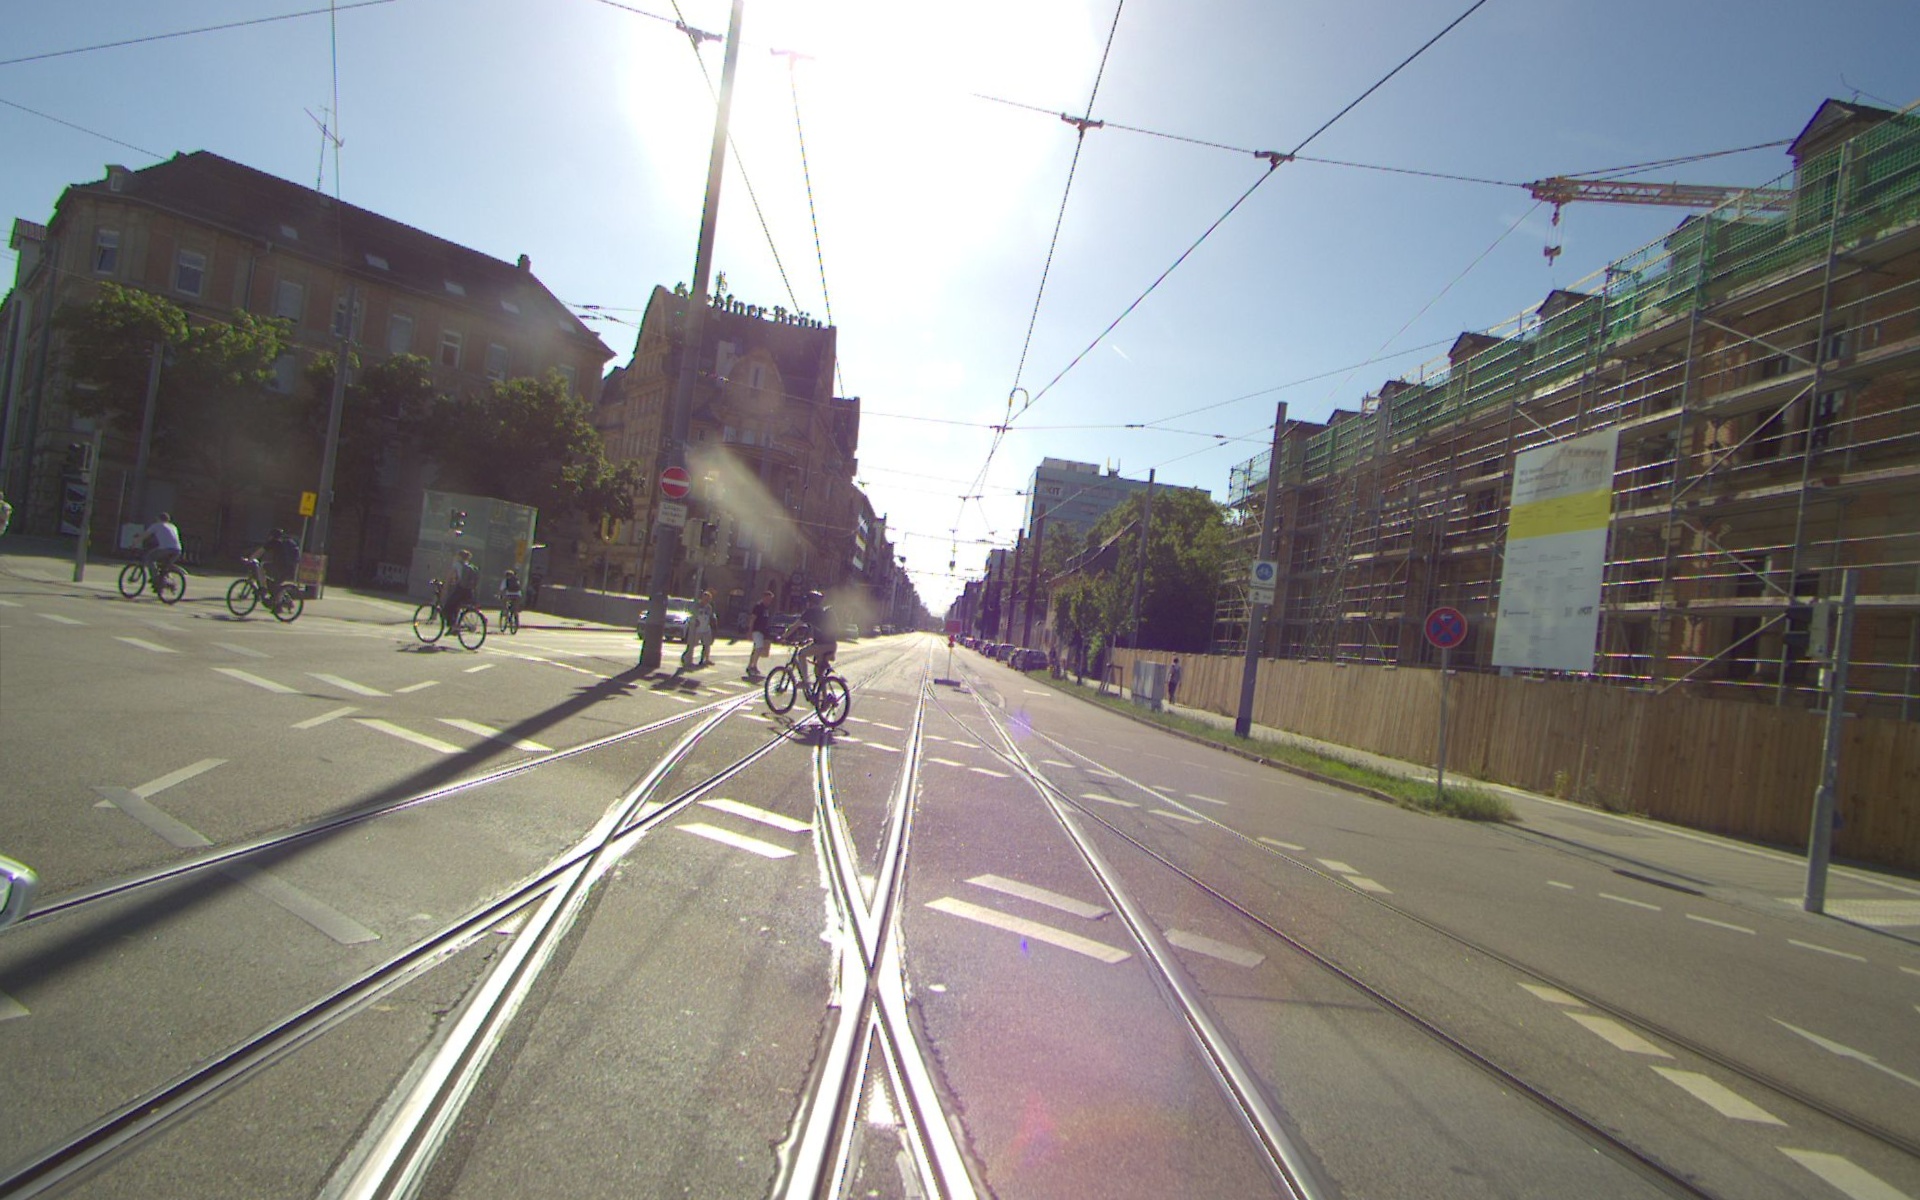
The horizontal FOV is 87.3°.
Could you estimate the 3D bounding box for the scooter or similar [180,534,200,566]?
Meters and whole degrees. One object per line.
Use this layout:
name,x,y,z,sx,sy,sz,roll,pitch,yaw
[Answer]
scooter or similar,-30.660,-1.996,40.063,1.544,1.198,0.270,5,-3,44

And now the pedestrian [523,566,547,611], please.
pedestrian,-18.880,-0.509,44.691,0.537,1.869,0.650,8,-2,1

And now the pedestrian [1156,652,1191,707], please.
pedestrian,8.442,3.133,39.834,0.850,2.035,1.088,8,-2,-5

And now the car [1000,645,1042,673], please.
car,4.282,4.132,71.343,1.966,1.635,3.999,9,-3,-8

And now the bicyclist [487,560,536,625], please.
bicyclist,-12.223,-0.206,27.432,0.938,1.631,0.599,6,-3,34

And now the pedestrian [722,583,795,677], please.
pedestrian,-4.571,0.673,22.841,1.033,1.950,0.931,6,-3,39

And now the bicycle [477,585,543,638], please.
bicycle,-12.224,0.300,27.311,1.902,1.130,0.533,9,-1,33

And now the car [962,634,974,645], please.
car,1.265,6.343,160.872,1.883,1.639,3.824,6,-2,0

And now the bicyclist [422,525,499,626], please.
bicyclist,-8.778,-0.423,17.684,0.936,1.631,0.552,7,-2,26

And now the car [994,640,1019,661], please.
car,4.056,4.394,87.813,1.883,1.639,3.824,6,-2,0

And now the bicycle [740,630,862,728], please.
bicycle,-2.315,1.116,14.506,1.838,1.172,0.531,6,-1,39

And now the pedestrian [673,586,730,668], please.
pedestrian,-5.781,0.609,22.498,0.812,1.695,0.659,6,-3,39

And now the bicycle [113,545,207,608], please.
bicycle,-16.600,-0.497,20.874,1.897,1.082,0.387,7,0,15

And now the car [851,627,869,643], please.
car,-12.291,4.302,123.505,1.721,1.639,4.019,6,-3,0

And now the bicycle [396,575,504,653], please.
bicycle,-8.993,0.235,17.724,1.899,1.130,0.533,7,-2,26

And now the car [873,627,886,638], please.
car,-13.996,5.705,175.473,1.721,1.641,4.015,6,0,0

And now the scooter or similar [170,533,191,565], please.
scooter or similar,-30.862,-2.041,39.824,1.544,1.198,0.270,5,-3,44

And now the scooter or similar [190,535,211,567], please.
scooter or similar,-30.435,-1.975,40.296,1.544,1.209,0.270,5,-3,44

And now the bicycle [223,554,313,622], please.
bicycle,-13.363,-0.238,19.421,1.900,1.130,0.533,6,-2,29

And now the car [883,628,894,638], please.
car,-14.855,6.869,209.332,1.721,1.641,4.015,6,0,0

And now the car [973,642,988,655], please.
car,2.750,6.612,136.964,1.883,1.639,3.824,6,-2,0

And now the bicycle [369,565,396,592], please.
bicycle,-26.127,-0.973,45.495,1.440,1.073,0.403,6,-3,37

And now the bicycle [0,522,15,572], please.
bicycle,-22.762,-1.306,23.420,1.902,1.129,0.533,6,-3,33

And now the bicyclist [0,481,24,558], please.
bicyclist,-22.592,-1.921,23.451,1.102,1.702,0.682,6,-3,33

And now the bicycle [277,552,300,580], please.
bicycle,-28.560,-1.457,42.770,1.334,1.073,0.403,5,-3,44

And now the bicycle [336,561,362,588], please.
bicycle,-27.276,-1.157,44.912,1.441,1.073,0.403,6,-3,39

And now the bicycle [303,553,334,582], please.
bicycle,-27.785,-1.404,43.558,1.328,1.073,0.404,7,-3,28

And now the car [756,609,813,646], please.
car,-9.412,1.516,54.375,1.882,1.705,4.257,6,-3,5

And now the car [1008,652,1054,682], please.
car,4.559,4.324,65.369,1.966,1.591,3.999,9,-3,-8

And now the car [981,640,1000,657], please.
car,3.426,5.440,113.008,1.883,1.639,3.824,6,-2,0

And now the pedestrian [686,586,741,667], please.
pedestrian,-5.782,0.625,23.594,0.812,1.776,0.659,6,-3,39

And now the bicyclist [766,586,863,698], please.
bicyclist,-2.080,0.593,14.356,1.021,1.437,0.674,6,-3,39

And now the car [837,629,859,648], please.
car,-11.443,3.968,103.091,1.721,1.639,4.019,6,-3,0

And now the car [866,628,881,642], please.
car,-12.906,5.189,149.921,1.721,1.642,4.012,6,1,0

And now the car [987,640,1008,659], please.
car,3.791,5.018,102.424,1.883,1.639,3.824,6,-2,0

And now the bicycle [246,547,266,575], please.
bicycle,-29.290,-1.637,41.842,0.402,1.073,1.465,10,-3,-41

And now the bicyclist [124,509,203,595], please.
bicyclist,-16.565,-0.994,20.932,0.869,1.612,0.785,7,-1,16

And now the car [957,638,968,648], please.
car,0.464,8.346,194.166,1.883,1.639,3.824,6,-2,0

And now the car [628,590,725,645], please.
car,-10.281,0.702,36.847,1.882,1.639,4.257,6,-3,5

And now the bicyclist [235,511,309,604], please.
bicyclist,-13.264,-0.816,19.406,0.964,1.631,0.625,6,-3,30
